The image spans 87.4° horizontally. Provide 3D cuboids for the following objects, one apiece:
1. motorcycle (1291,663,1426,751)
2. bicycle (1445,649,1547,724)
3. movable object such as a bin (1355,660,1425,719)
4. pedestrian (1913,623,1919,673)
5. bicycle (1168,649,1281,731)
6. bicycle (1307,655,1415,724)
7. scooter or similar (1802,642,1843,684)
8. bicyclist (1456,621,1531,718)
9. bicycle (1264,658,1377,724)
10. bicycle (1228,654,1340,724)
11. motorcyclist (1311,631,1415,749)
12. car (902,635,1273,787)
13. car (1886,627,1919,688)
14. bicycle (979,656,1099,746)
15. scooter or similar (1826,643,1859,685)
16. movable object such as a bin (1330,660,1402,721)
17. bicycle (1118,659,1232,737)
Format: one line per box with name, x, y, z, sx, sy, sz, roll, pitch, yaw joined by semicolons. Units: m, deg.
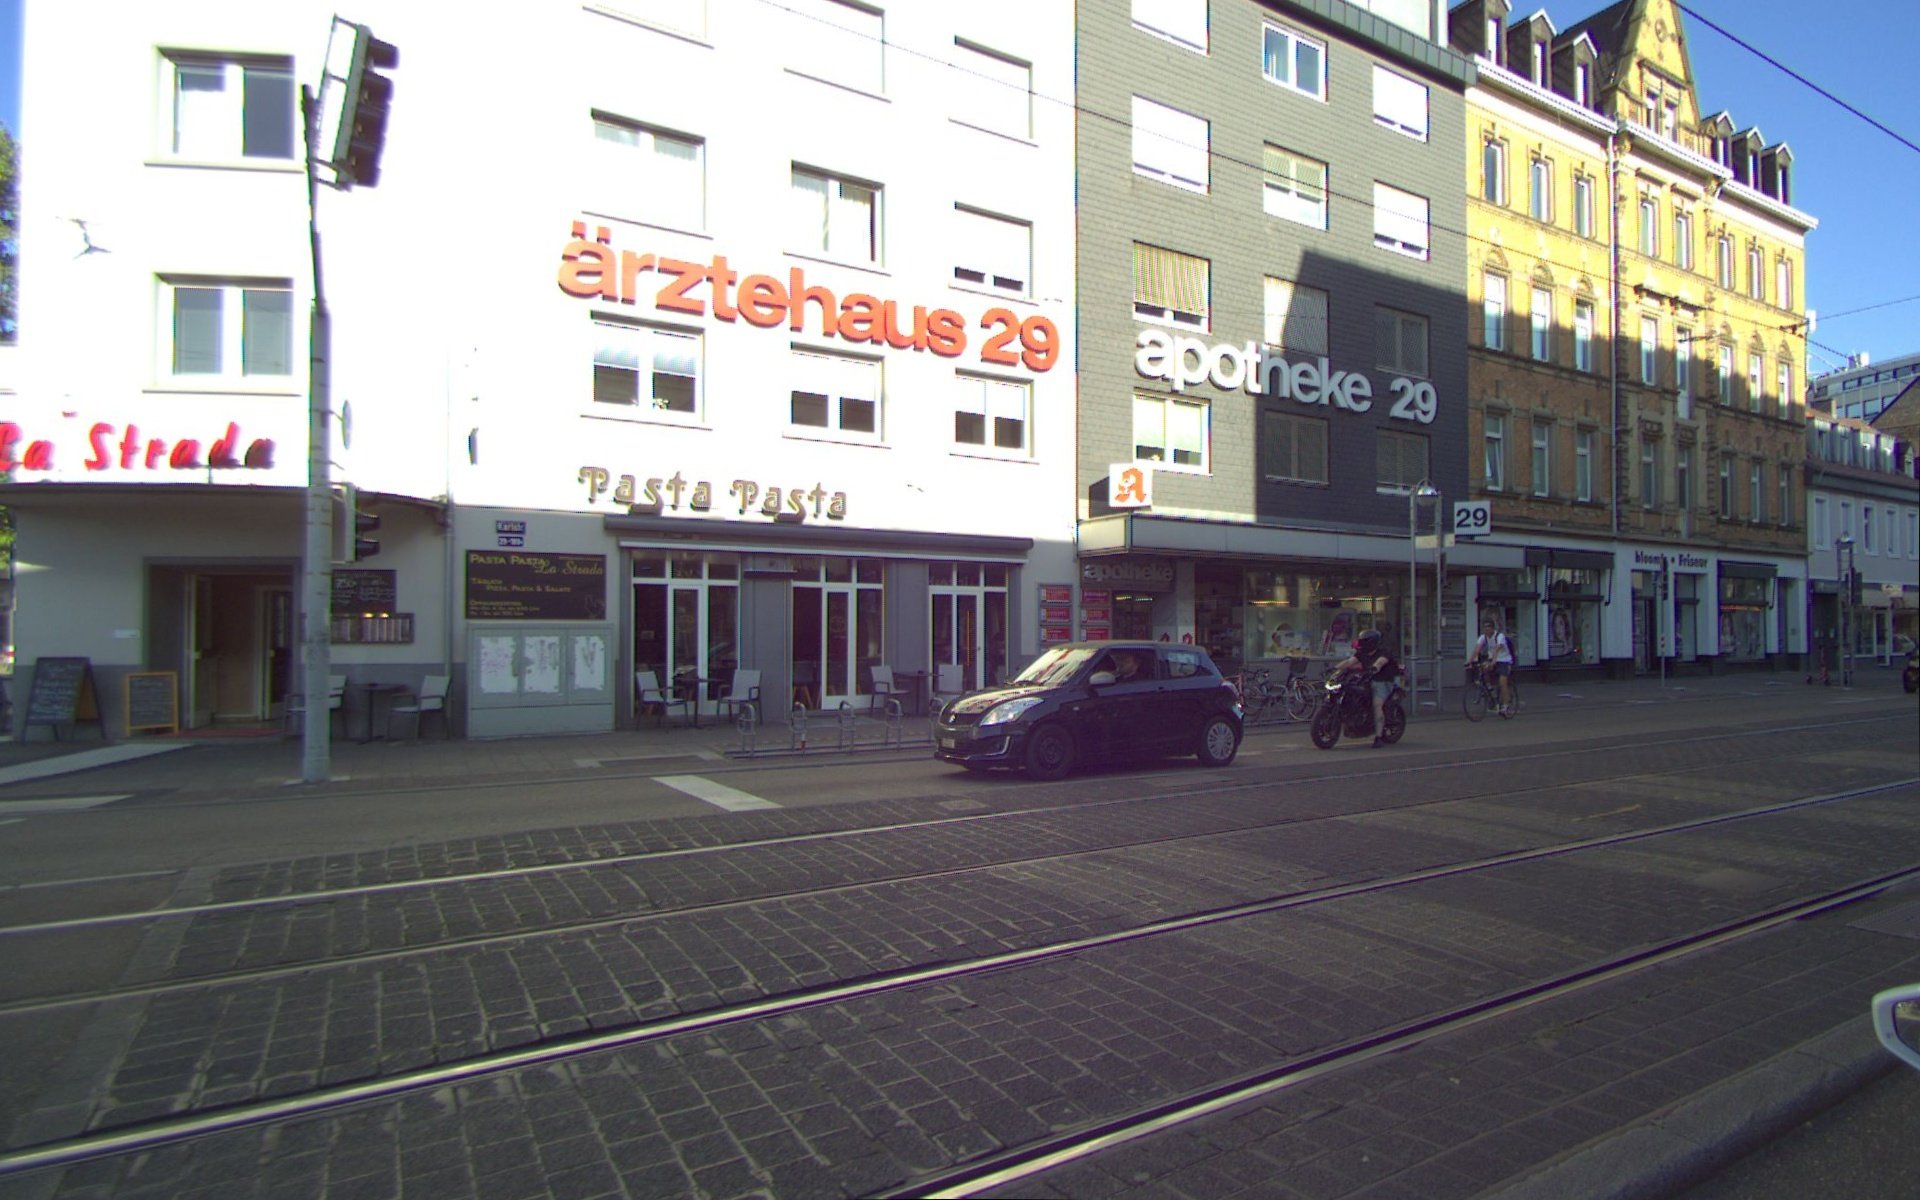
motorcycle;5.600;1.463;14.066;2.092;1.134;0.567;1;-3;-30
bicycle;10.001;1.585;18.726;2.002;1.310;0.747;1;-2;-31
movable object such as a bin;8.540;1.762;19.974;0.690;1.077;1.094;1;-1;-29
pedestrian;35.289;1.754;36.546;0.707;1.799;0.613;0;-1;-17
bicycle;4.687;1.564;17.924;0.766;1.296;1.922;1;-1;-34
bicycle;7.564;1.657;19.033;0.546;1.205;1.923;1;-2;-33
scooter or similar;26.217;1.912;30.537;1.461;1.218;0.575;1;0;-34
bicyclist;10.000;1.282;18.831;1.132;1.752;0.747;1;-2;-29
bicycle;6.767;1.685;18.930;0.766;1.125;1.922;1;-2;-34
bicycle;5.971;1.620;18.613;0.766;1.167;1.922;1;-2;-34
motorcyclist;5.658;1.237;14.104;1.132;1.578;0.800;1;-3;-29
car;1.537;1.194;11.728;4.089;1.464;1.706;1;-4;-30
car;26.029;1.505;26.446;2.796;1.586;1.641;1;-2;-30
bicycle;1.222;1.559;16.001;0.766;1.240;2.089;1;-1;-34
scooter or similar;26.458;1.901;30.115;1.461;1.218;0.362;1;0;-34
movable object such as a bin;7.917;1.750;19.620;0.726;1.086;1.094;1;-1;-29
bicycle;3.673;1.651;17.330;0.766;1.208;1.922;1;-2;-34
